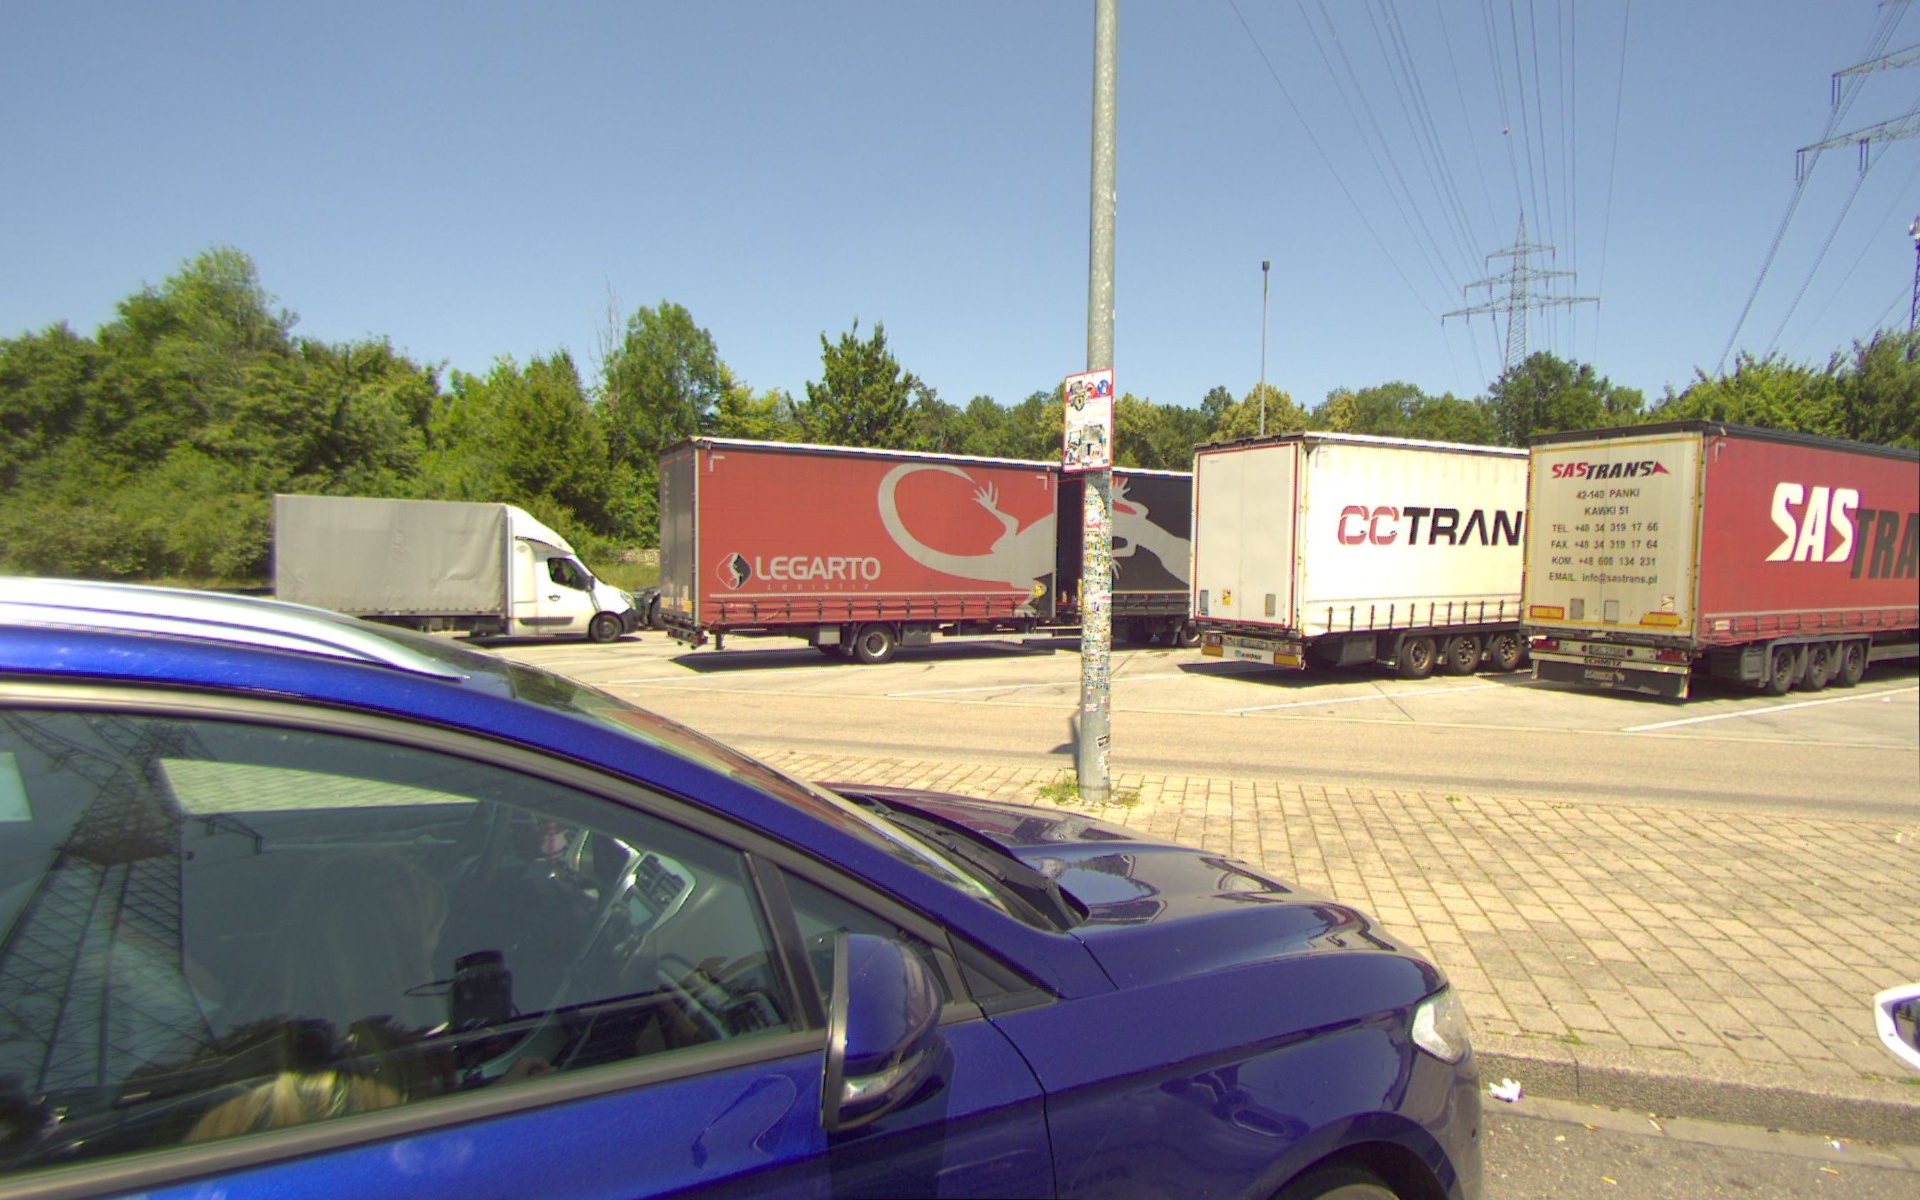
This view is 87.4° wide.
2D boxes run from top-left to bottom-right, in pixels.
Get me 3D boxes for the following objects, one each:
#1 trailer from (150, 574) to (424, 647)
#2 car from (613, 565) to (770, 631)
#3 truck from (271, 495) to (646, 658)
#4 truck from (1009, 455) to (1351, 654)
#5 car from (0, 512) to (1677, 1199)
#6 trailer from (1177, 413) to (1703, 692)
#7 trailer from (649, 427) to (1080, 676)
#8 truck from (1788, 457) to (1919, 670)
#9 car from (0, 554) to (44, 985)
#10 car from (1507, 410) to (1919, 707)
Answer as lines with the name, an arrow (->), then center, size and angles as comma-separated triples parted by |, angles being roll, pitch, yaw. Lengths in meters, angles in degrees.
trailer -> -15.954, 0.242, 24.186 | 5.332, 1.617, 1.585 | 0, 0, -30
car -> -7.608, -0.048, 28.521 | 3.953, 1.773, 1.902 | 0, 0, -30
truck -> -11.119, -0.586, 22.879 | 7.219, 3.277, 2.308 | -2, 3, -29
truck -> 5.599, -1.080, 24.832 | 8.683, 4.248, 2.800 | -1, 2, -30
car -> -0.991, 0.668, 1.469 | 4.380, 1.464, 1.771 | 0, 0, -32
trailer -> 10.107, -0.884, 20.071 | 12.786, 4.325, 2.800 | -1, 2, -31
trailer -> -1.748, -0.930, 20.509 | 8.389, 4.248, 2.800 | -1, 2, -30
truck -> 21.138, -0.776, 21.868 | 6.163, 4.169, 2.683 | -1, 3, -30
car -> -4.618, 0.555, 2.121 | 3.700, 1.432, 1.595 | 0, 0, -32
car -> 15.212, -0.695, 18.457 | 12.777, 4.169, 2.683 | -1, 3, -30
